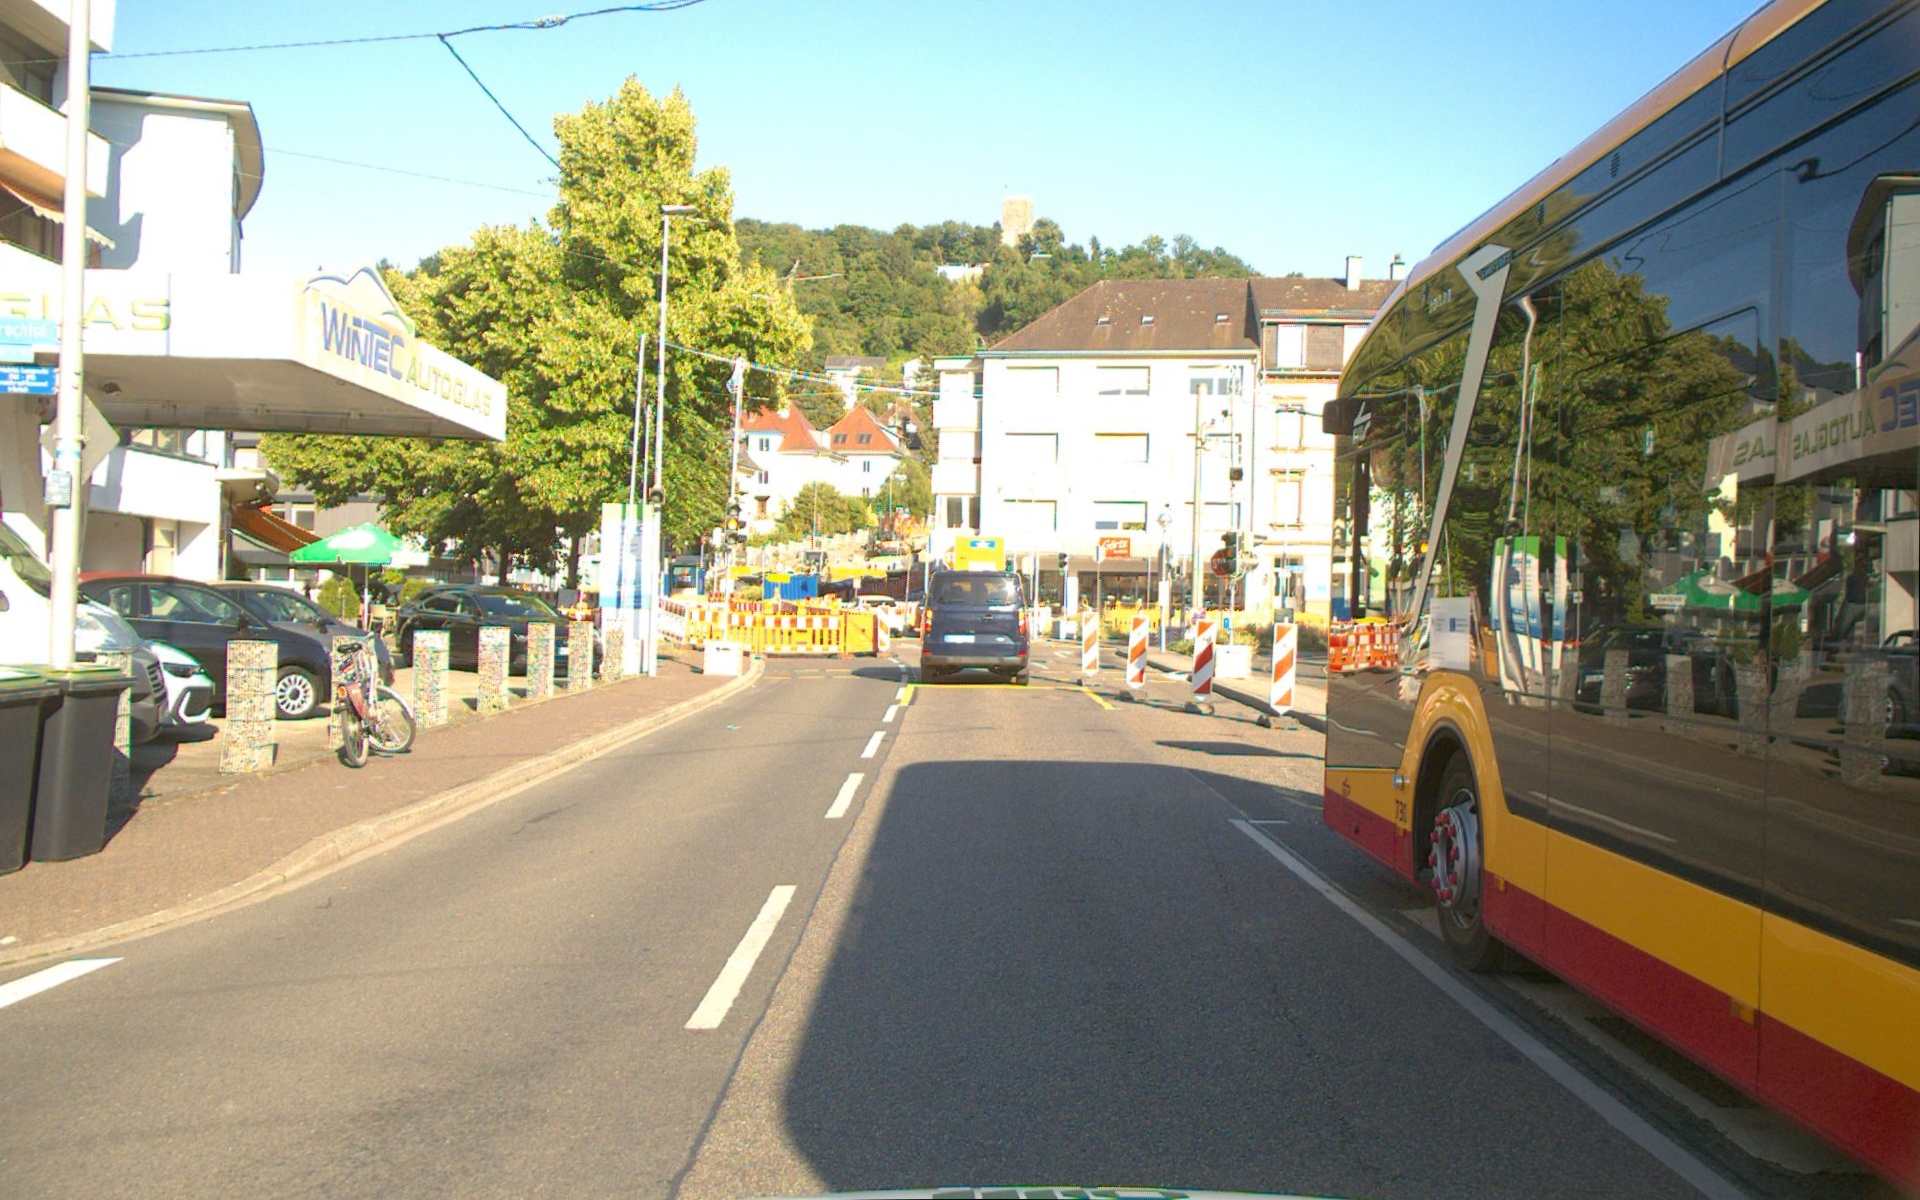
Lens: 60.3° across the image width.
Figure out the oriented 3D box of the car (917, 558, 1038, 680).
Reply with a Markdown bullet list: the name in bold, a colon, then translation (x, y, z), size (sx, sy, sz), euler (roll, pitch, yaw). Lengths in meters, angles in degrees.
- **car**: translation (0.310, 0.362, 30.890), size (2.019, 2.049, 4.999), euler (2, -1, 0)

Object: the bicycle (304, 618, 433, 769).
- **bicycle**: translation (-5.085, 0.773, 14.326), size (0.710, 1.198, 1.777), euler (1, 0, -9)

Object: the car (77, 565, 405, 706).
- **car**: translation (-8.862, 0.425, 20.573), size (1.591, 1.596, 3.377), euler (1, 0, 38)

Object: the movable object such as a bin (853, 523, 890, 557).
- **movable object such as a bin**: translation (-7.465, -5.043, 139.835), size (2.144, 2.737, 4.003), euler (1, 0, 11)

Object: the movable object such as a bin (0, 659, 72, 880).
- **movable object such as a bin**: translation (-5.187, 0.876, 8.700), size (0.646, 1.081, 0.585), euler (3, 2, 12)

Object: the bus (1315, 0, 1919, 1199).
- **bus**: translation (3.420, -0.194, 3.739), size (2.633, 3.476, 12.018), euler (1, 0, 0)

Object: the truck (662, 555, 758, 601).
- **truck**: translation (-14.198, -1.224, 94.783), size (2.306, 2.458, 9.159), euler (1, 0, 12)

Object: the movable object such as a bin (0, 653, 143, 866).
- **movable object such as a bin**: translation (-5.070, 0.877, 9.299), size (0.626, 1.088, 0.580), euler (2, 3, 12)

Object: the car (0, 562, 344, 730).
- **car**: translation (-8.492, 0.455, 17.465), size (1.594, 1.596, 3.371), euler (1, 0, 43)

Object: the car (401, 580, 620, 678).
- **car**: translation (-7.927, 0.476, 28.949), size (1.896, 1.480, 4.244), euler (2, 0, -44)

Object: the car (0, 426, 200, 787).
- **car**: translation (-8.363, -0.006, 11.975), size (4.984, 2.513, 2.095), euler (2, 0, -22)

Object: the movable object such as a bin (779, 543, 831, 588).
- **movable object such as a bin**: translation (-9.839, -2.173, 105.289), size (2.144, 2.737, 4.003), euler (1, 0, 11)

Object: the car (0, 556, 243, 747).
- **car**: translation (-8.585, 0.412, 14.625), size (3.944, 1.595, 1.756), euler (2, 0, -30)

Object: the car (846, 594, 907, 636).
- **car**: translation (-3.030, 0.529, 59.313), size (1.761, 1.434, 3.992), euler (1, 0, -9)

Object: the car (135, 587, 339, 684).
- **car**: translation (-11.104, 0.496, 25.693), size (1.555, 1.306, 4.136), euler (1, 1, -4)
